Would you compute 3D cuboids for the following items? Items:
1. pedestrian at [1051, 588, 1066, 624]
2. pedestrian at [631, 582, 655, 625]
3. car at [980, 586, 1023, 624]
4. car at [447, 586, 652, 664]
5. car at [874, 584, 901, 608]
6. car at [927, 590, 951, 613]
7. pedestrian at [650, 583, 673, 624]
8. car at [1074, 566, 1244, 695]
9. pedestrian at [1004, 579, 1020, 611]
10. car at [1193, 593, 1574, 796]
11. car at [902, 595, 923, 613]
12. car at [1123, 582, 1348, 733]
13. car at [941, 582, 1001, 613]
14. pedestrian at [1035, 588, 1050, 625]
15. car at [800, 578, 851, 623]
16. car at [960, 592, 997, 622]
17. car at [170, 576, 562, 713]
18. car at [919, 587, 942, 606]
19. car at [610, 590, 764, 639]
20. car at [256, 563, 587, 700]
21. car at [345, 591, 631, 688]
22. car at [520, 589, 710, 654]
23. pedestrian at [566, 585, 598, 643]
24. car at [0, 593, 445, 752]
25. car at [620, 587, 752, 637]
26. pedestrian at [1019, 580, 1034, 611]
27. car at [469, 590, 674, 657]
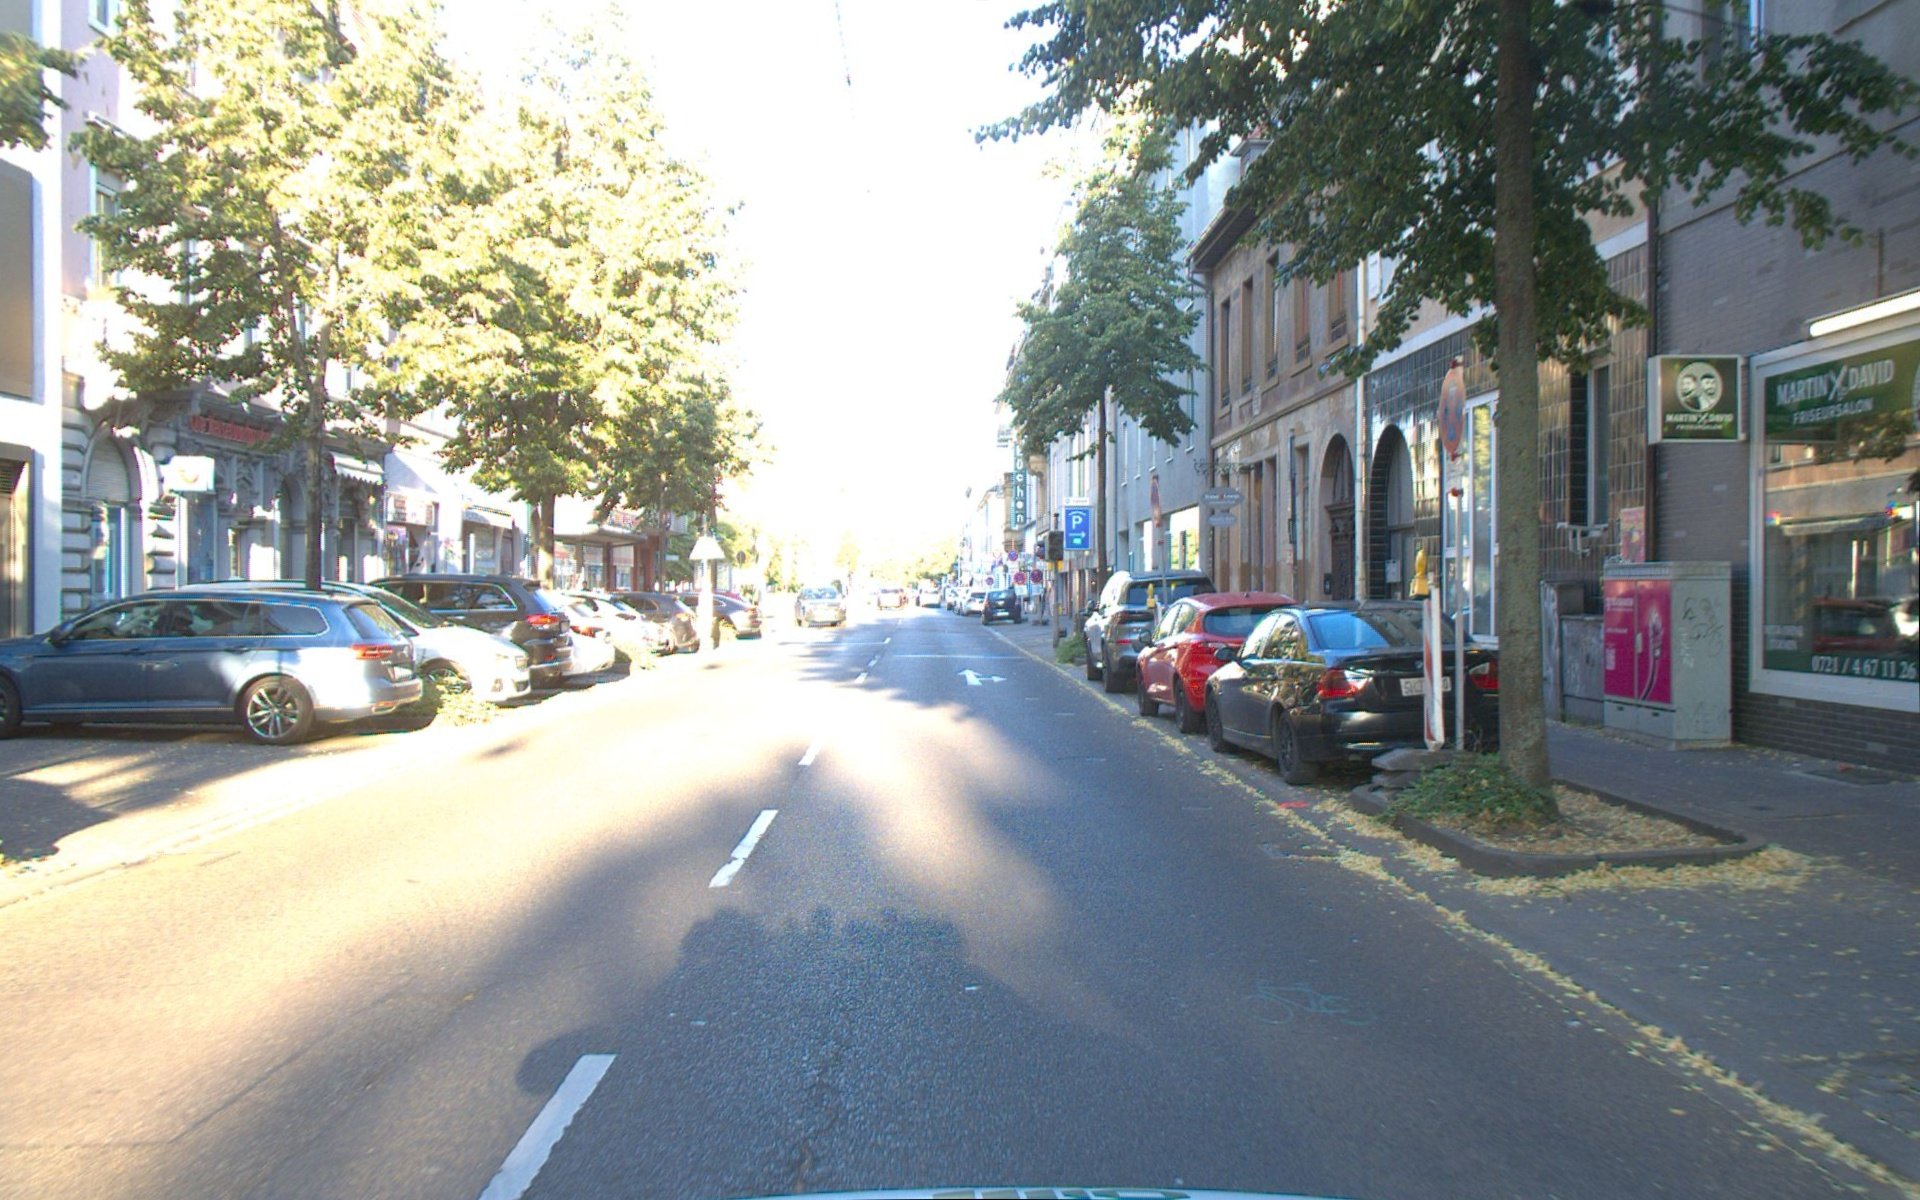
[{"bbox_3d":[4.379,0.260,73.516,0.592,1.627,0.773,0,0,-2],"label":"pedestrian"},{"bbox_3d":[-12.213,0.131,63.754,0.756,1.636,0.875,1,-2,-1],"label":"pedestrian"},{"bbox_3d":[1.811,0.209,73.689,1.723,1.563,4.000,-3,0,0],"label":"car"},{"bbox_3d":[-8.127,0.491,33.006,3.664,1.469,1.804,1,0,-4],"label":"car"},{"bbox_3d":[-5.216,-0.256,119.082,1.858,1.678,4.102,0,0,-2],"label":"car"},{"bbox_3d":[-1.592,0.108,126.197,1.695,1.679,4.283,1,0,-2],"label":"car"},{"bbox_3d":[-11.544,0.145,63.911,0.719,1.555,0.875,1,-1,-1],"label":"pedestrian"},{"bbox_3d":[3.010,0.416,25.981,1.997,1.767,4.710,-2,0,-1],"label":"car"},{"bbox_3d":[3.032,-0.293,96.516,0.757,1.859,1.010,-2,0,-2],"label":"pedestrian"},{"bbox_3d":[3.480,0.690,14.543,1.913,1.414,4.421,-2,0,-4],"label":"car"},{"bbox_3d":[-4.388,0.356,153.835,1.858,1.608,3.850,3,0,-2],"label":"car"},{"bbox_3d":[3.103,0.590,19.389,1.695,1.513,3.897,-2,0,-4],"label":"car"},{"bbox_3d":[0.627,-0.154,100.018,1.967,1.792,4.432,-1,0,-24],"label":"car"},{"bbox_3d":[3.671,0.285,73.351,0.592,1.627,0.773,0,0,-2],"label":"pedestrian"},{"bbox_3d":[-5.514,-0.001,68.251,1.824,1.721,4.459,-1,1,-2],"label":"car"},{"bbox_3d":[1.016,0.388,92.338,1.724,1.563,4.818,2,-1,-3],"label":"car"},{"bbox_3d":[-7.480,0.538,21.155,4.318,1.624,1.889,1,1,-3],"label":"car"},{"bbox_3d":[-2.531,-0.287,140.350,1.858,1.609,3.998,1,0,-2],"label":"car"},{"bbox_3d":[-8.345,0.433,50.829,4.479,1.432,1.820,1,0,-3],"label":"car"},{"bbox_3d":[-7.506,0.433,23.376,4.067,1.804,1.888,1,0,-4],"label":"car"},{"bbox_3d":[-7.430,0.610,26.337,4.067,1.446,1.765,1,0,-4],"label":"car"},{"bbox_3d":[-7.903,0.482,38.178,4.025,1.428,1.883,1,0,-4],"label":"car"},{"bbox_3d":[-11.541,0.439,50.539,0.756,1.751,0.875,1,-2,-1],"label":"pedestrian"},{"bbox_3d":[-7.699,0.692,16.727,4.458,1.510,1.743,0,0,-4],"label":"car"},{"bbox_3d":[-8.891,0.376,53.844,3.990,1.563,1.883,1,0,-2],"label":"car"},{"bbox_3d":[3.887,-0.276,96.604,0.757,1.741,1.041,-2,0,-2],"label":"pedestrian"},{"bbox_3d":[-8.374,0.497,35.927,4.013,1.428,1.843,0,0,0],"label":"car"}]
